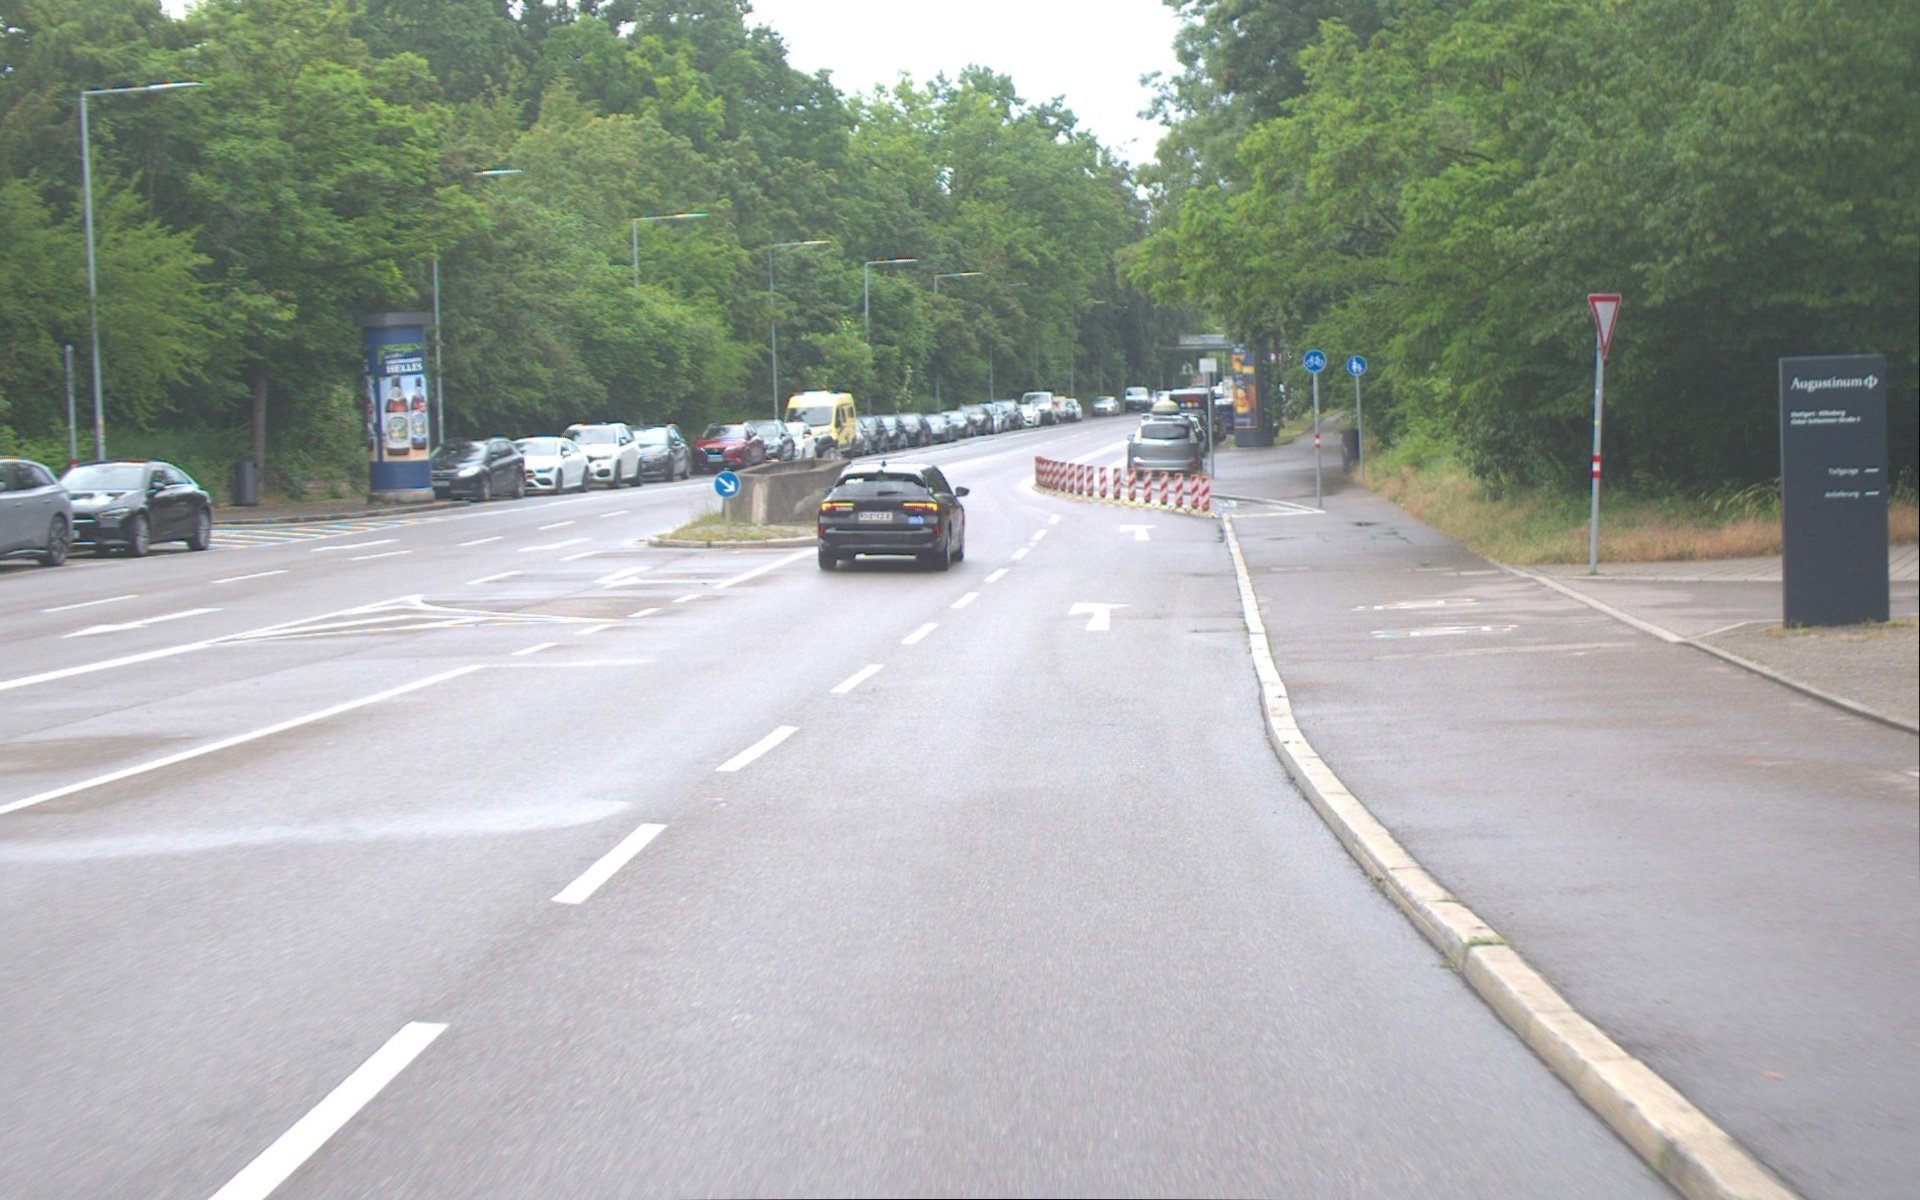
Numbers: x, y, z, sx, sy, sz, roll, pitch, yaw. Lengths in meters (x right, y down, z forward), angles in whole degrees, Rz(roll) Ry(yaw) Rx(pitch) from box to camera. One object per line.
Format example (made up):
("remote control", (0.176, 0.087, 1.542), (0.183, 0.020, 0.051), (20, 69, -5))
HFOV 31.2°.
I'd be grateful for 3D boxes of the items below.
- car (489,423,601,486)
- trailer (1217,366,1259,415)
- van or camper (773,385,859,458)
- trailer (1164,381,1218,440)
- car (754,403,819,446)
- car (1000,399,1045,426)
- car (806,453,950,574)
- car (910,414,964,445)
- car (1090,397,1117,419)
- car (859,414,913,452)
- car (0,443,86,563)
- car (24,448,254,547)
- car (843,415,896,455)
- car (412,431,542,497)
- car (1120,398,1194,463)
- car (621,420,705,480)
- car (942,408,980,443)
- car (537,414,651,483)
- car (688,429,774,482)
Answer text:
("car", (-10.497, -3.711, 87.286), (1.719, 1.455, 4.708), (0, 4, 7))
("trailer", (14.795, -11.168, 182.808), (2.132, 2.551, 4.297), (-1, 4, 5))
("van or camper", (-5.363, -6.731, 128.805), (2.144, 2.618, 5.682), (-1, 4, 8))
("trailer", (9.216, -7.548, 136.713), (1.906, 2.239, 4.768), (0, 4, 7))
("car", (-6.152, -6.249, 122.223), (1.618, 1.443, 3.656), (-2, 3, 8))
("car", (3.484, -10.431, 191.095), (1.994, 1.483, 4.468), (0, 4, 8))
("car", (-1.166, -1.225, 47.250), (1.880, 1.460, 4.001), (1, 4, -3))
("car", (-1.022, -7.678, 154.236), (1.870, 1.299, 4.470), (0, 4, 7))
("car", (10.342, -13.825, 247.059), (1.673, 1.508, 3.630), (0, 4, 7))
("car", (-3.107, -7.058, 144.884), (1.603, 1.504, 3.976), (0, 4, 8))
("car", (-13.520, -1.321, 46.183), (1.841, 1.583, 4.928), (1, 3, 6))
("car", (-12.418, -1.594, 52.327), (1.906, 1.409, 4.782), (1, 3, 6))
("car", (-3.649, -6.706, 139.573), (1.603, 1.504, 3.138), (0, 4, 8))
("car", (-11.359, -3.224, 81.145), (1.750, 1.440, 4.586), (0, 4, 9))
("car", (5.037, -4.354, 88.175), (1.822, 1.609, 4.252), (0, 3, 2))
("car", (-8.651, -4.399, 100.390), (1.731, 1.643, 4.571), (0, 3, 4))
("car", (0.065, -8.256, 162.276), (1.461, 1.565, 2.984), (-1, 4, 6))
("car", (-9.837, -4.112, 92.722), (1.994, 1.759, 4.960), (0, 3, 6))
("car", (-7.433, -4.725, 112.003), (1.919, 1.611, 4.489), (-1, 3, 8))
